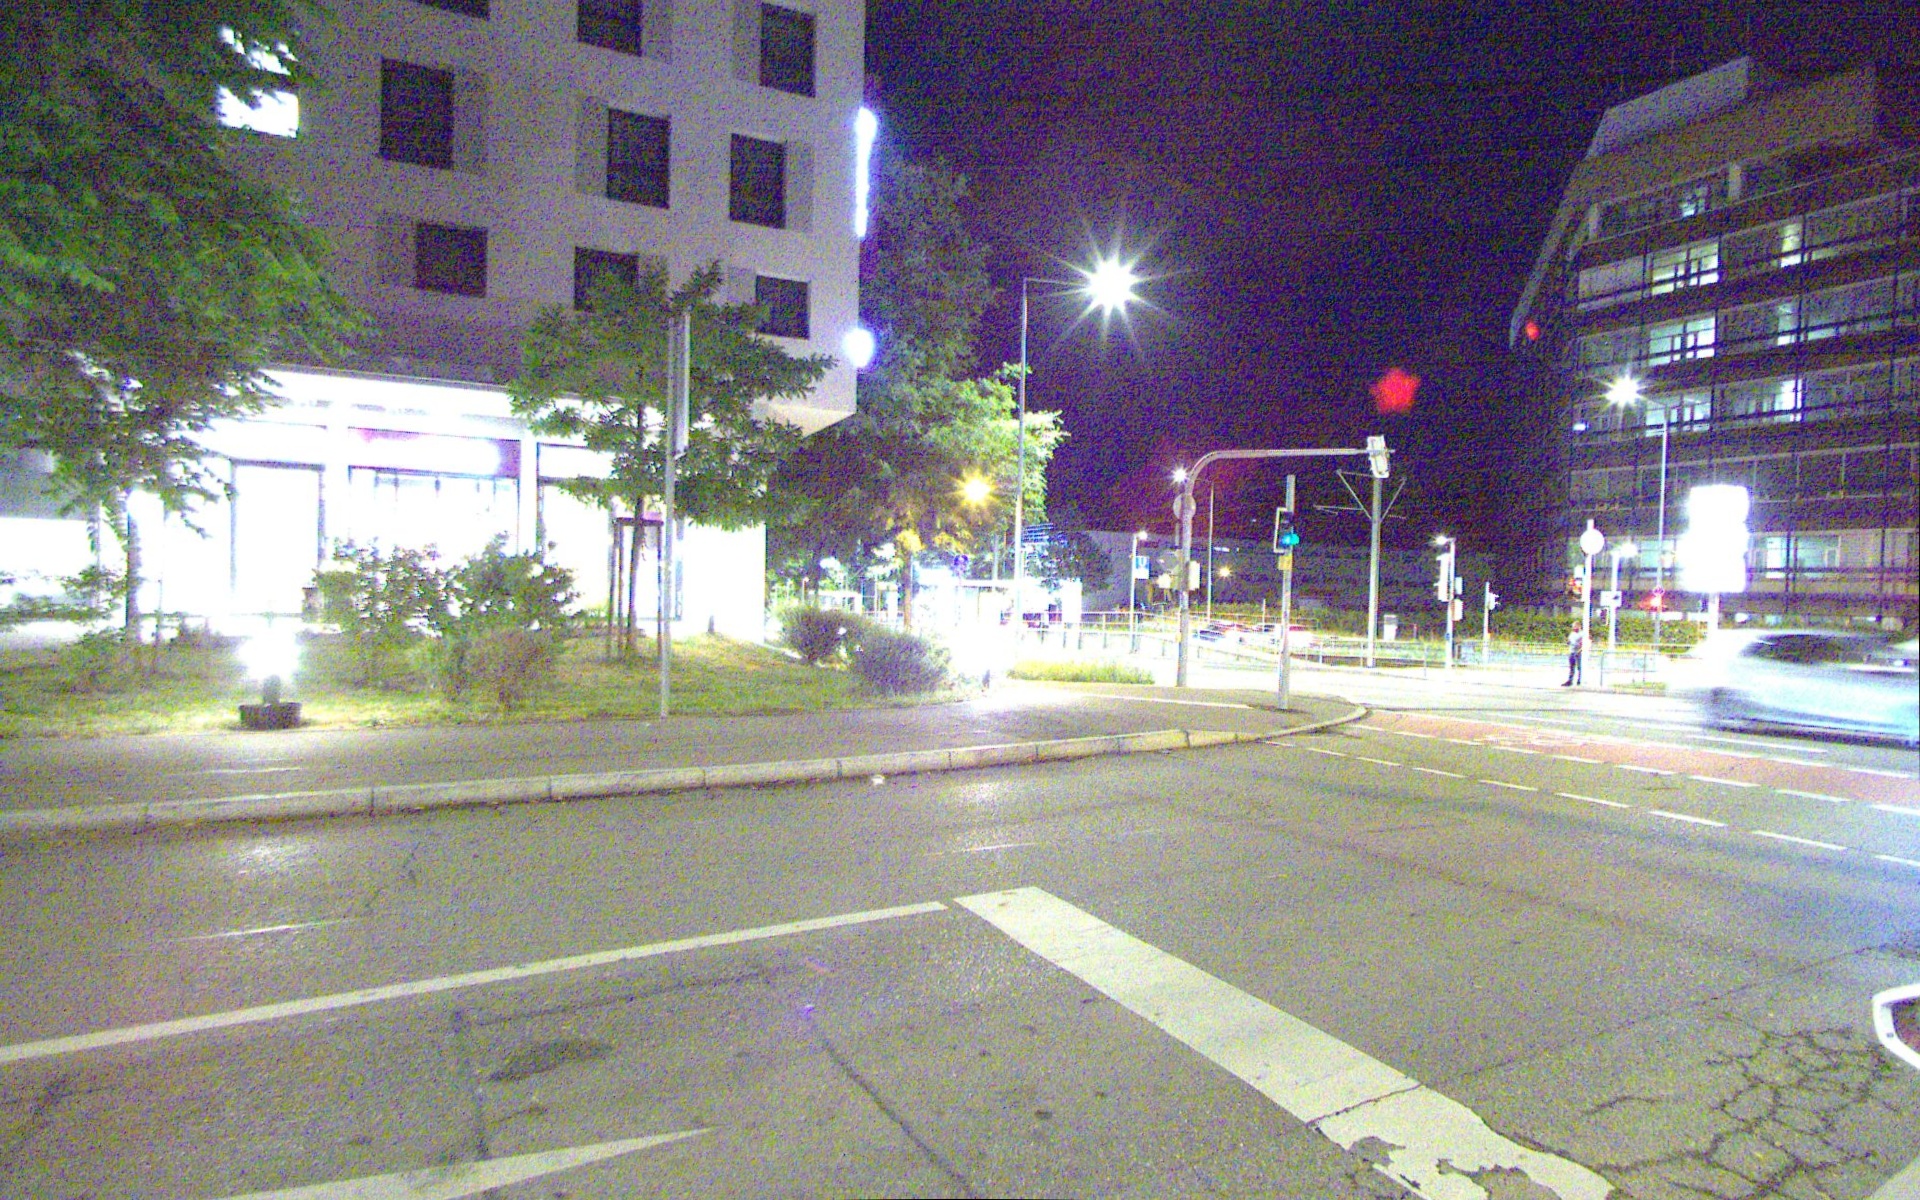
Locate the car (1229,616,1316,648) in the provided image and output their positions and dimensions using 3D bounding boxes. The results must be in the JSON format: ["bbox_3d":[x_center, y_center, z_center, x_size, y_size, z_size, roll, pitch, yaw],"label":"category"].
[{"bbox_3d":[16.804,1.706,54.250,1.823,1.606,4.553,0,0,-27],"label":"car"}]

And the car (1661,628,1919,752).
[{"bbox_3d":[12.048,1.143,13.596,1.722,1.456,3.889,1,-1,-26],"label":"car"}]

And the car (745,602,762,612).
[{"bbox_3d":[-33.476,1.131,162.928,1.845,1.506,3.822,3,0,-26],"label":"car"}]

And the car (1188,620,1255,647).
[{"bbox_3d":[16.347,2.071,63.010,1.779,1.606,4.221,3,-2,-25],"label":"car"}]

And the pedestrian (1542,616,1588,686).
[{"bbox_3d":[15.637,1.300,25.975,0.693,1.745,0.679,2,0,-5],"label":"pedestrian"}]

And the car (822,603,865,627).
[{"bbox_3d":[-7.876,1.014,67.752,1.672,1.472,3.975,3,0,-25],"label":"car"}]

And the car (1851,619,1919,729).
[{"bbox_3d":[15.577,1.059,13.654,1.722,1.620,4.905,0,-1,-26],"label":"car"}]
